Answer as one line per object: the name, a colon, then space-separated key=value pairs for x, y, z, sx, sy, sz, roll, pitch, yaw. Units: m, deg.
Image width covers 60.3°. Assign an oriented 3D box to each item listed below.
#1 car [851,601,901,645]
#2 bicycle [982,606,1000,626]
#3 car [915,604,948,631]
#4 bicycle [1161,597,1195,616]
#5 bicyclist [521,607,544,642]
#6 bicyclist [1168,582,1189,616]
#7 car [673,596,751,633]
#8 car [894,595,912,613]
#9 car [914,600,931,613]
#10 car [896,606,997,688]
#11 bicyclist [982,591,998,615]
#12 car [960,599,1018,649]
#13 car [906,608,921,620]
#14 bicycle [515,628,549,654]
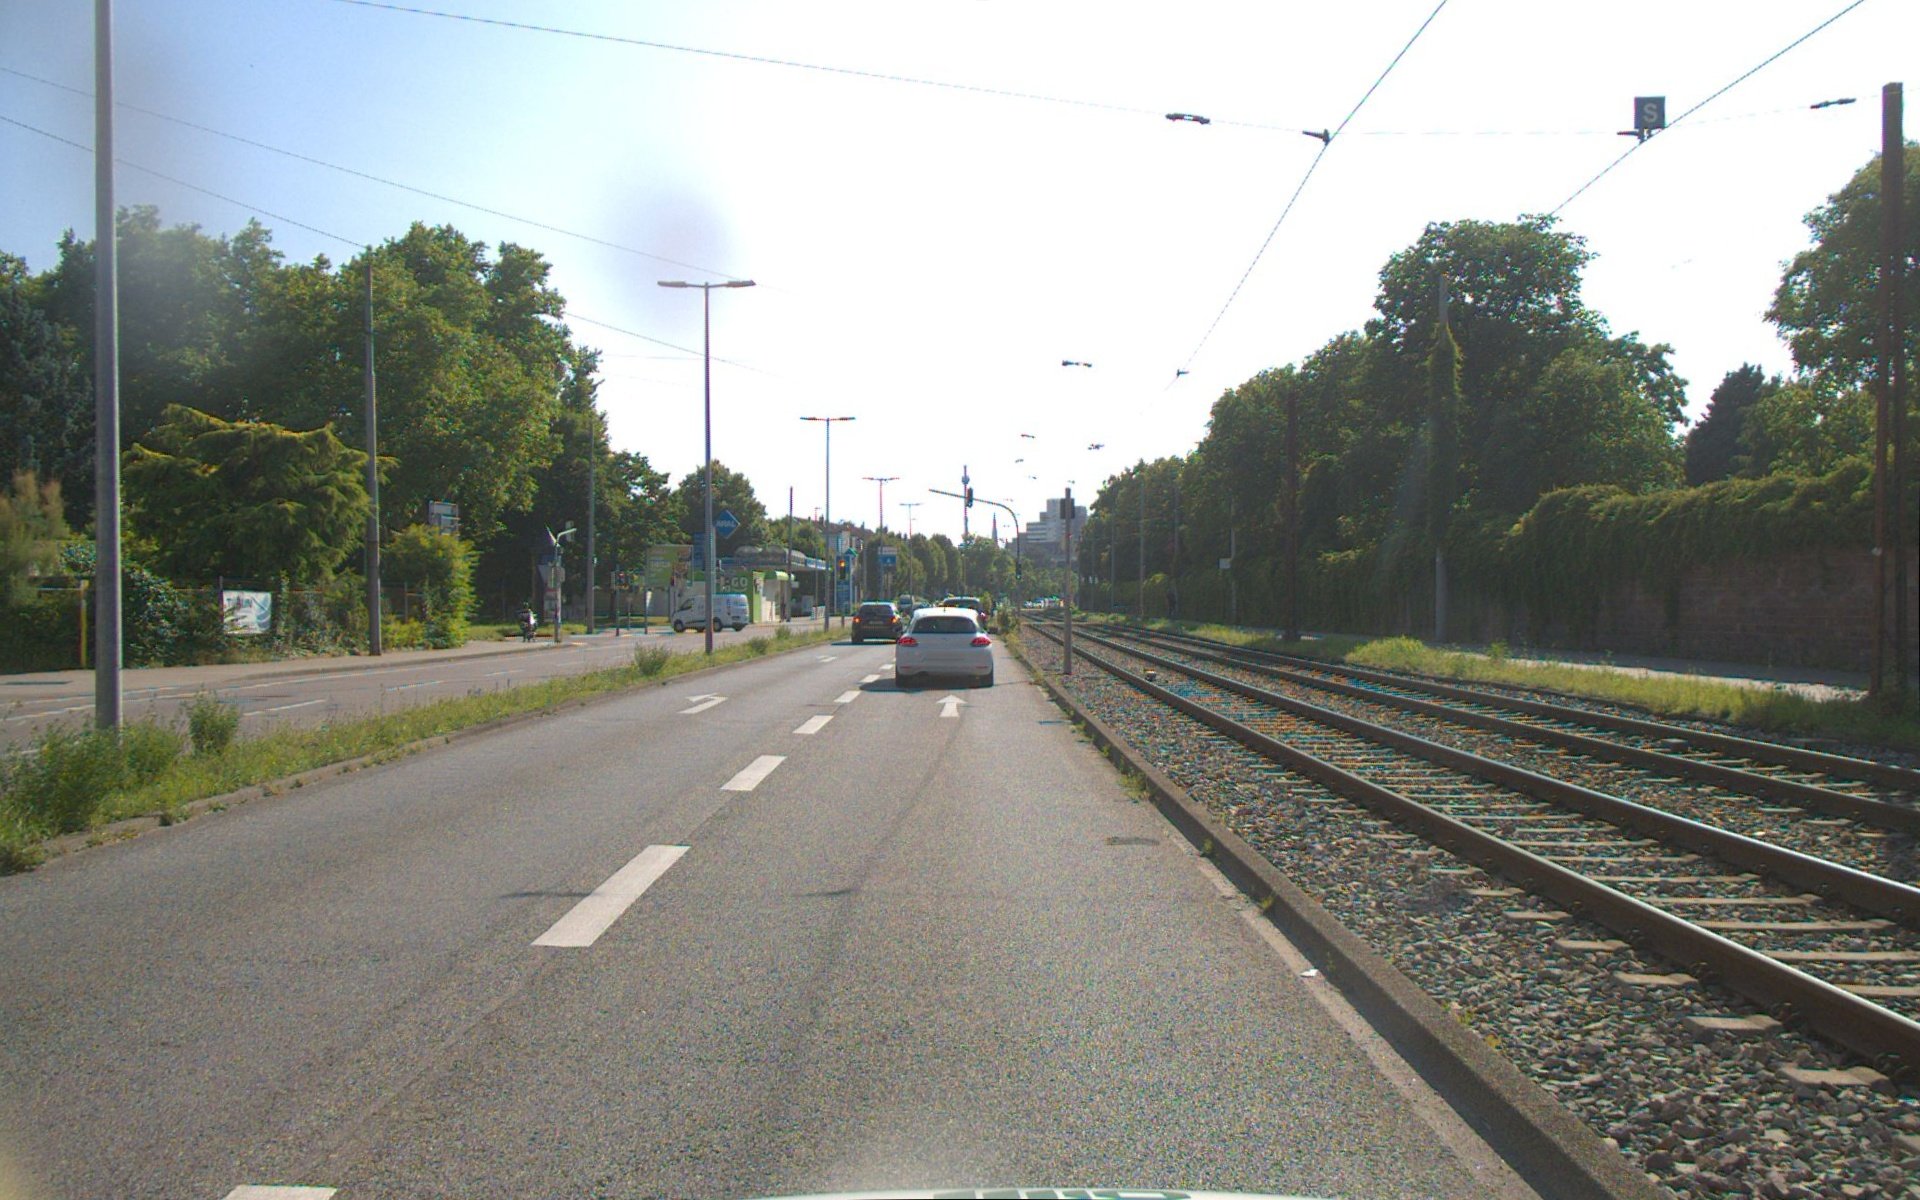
car: x=-3.070 y=0.821 z=60.716 sx=1.725 sy=1.512 sz=4.642 roll=1 pitch=0 yaw=-3
bicycle: x=1.897 y=0.976 z=100.986 sx=0.629 sy=1.174 sz=1.938 roll=-1 pitch=0 yaw=16
car: x=-1.648 y=1.035 z=97.794 sx=1.712 sy=1.512 sz=3.602 roll=1 pitch=0 yaw=2
bicycle: x=13.379 y=0.371 z=101.395 sx=1.883 sy=1.134 sz=0.947 roll=-1 pitch=0 yaw=25
bicyclist: x=-18.564 y=1.057 z=71.884 sx=0.648 sy=1.478 sz=1.051 roll=-1 pitch=0 yaw=4
bicyclist: x=13.406 y=-0.059 z=101.384 sx=1.012 sy=2.028 sz=0.947 roll=-1 pitch=0 yaw=25
car: x=-13.951 y=0.805 z=92.812 sx=4.315 sy=1.997 sz=1.816 roll=-1 pitch=-1 yaw=37
car: x=-7.984 y=0.530 z=230.976 sx=1.951 sy=2.418 sz=4.541 roll=-1 pitch=0 yaw=4
car: x=-4.148 y=0.702 z=182.949 sx=1.619 sy=1.420 sz=4.134 roll=-1 pitch=0 yaw=1
car: x=-0.231 y=0.830 z=30.701 sx=1.744 sy=1.380 sz=3.601 roll=1 pitch=0 yaw=0
bicyclist: x=1.838 y=0.207 z=100.979 sx=0.629 sy=1.441 sz=1.013 roll=-3 pitch=-2 yaw=16
car: x=0.955 y=0.784 z=56.324 sx=1.690 sy=1.620 sz=3.599 roll=1 pitch=0 yaw=-3
car: x=-5.651 y=1.681 z=200.715 sx=1.541 sy=1.441 sz=3.334 roll=-1 pitch=0 yaw=2
bicycle: x=-18.560 y=1.769 z=71.781 sx=0.648 sy=1.068 sz=2.581 roll=-1 pitch=0 yaw=4
